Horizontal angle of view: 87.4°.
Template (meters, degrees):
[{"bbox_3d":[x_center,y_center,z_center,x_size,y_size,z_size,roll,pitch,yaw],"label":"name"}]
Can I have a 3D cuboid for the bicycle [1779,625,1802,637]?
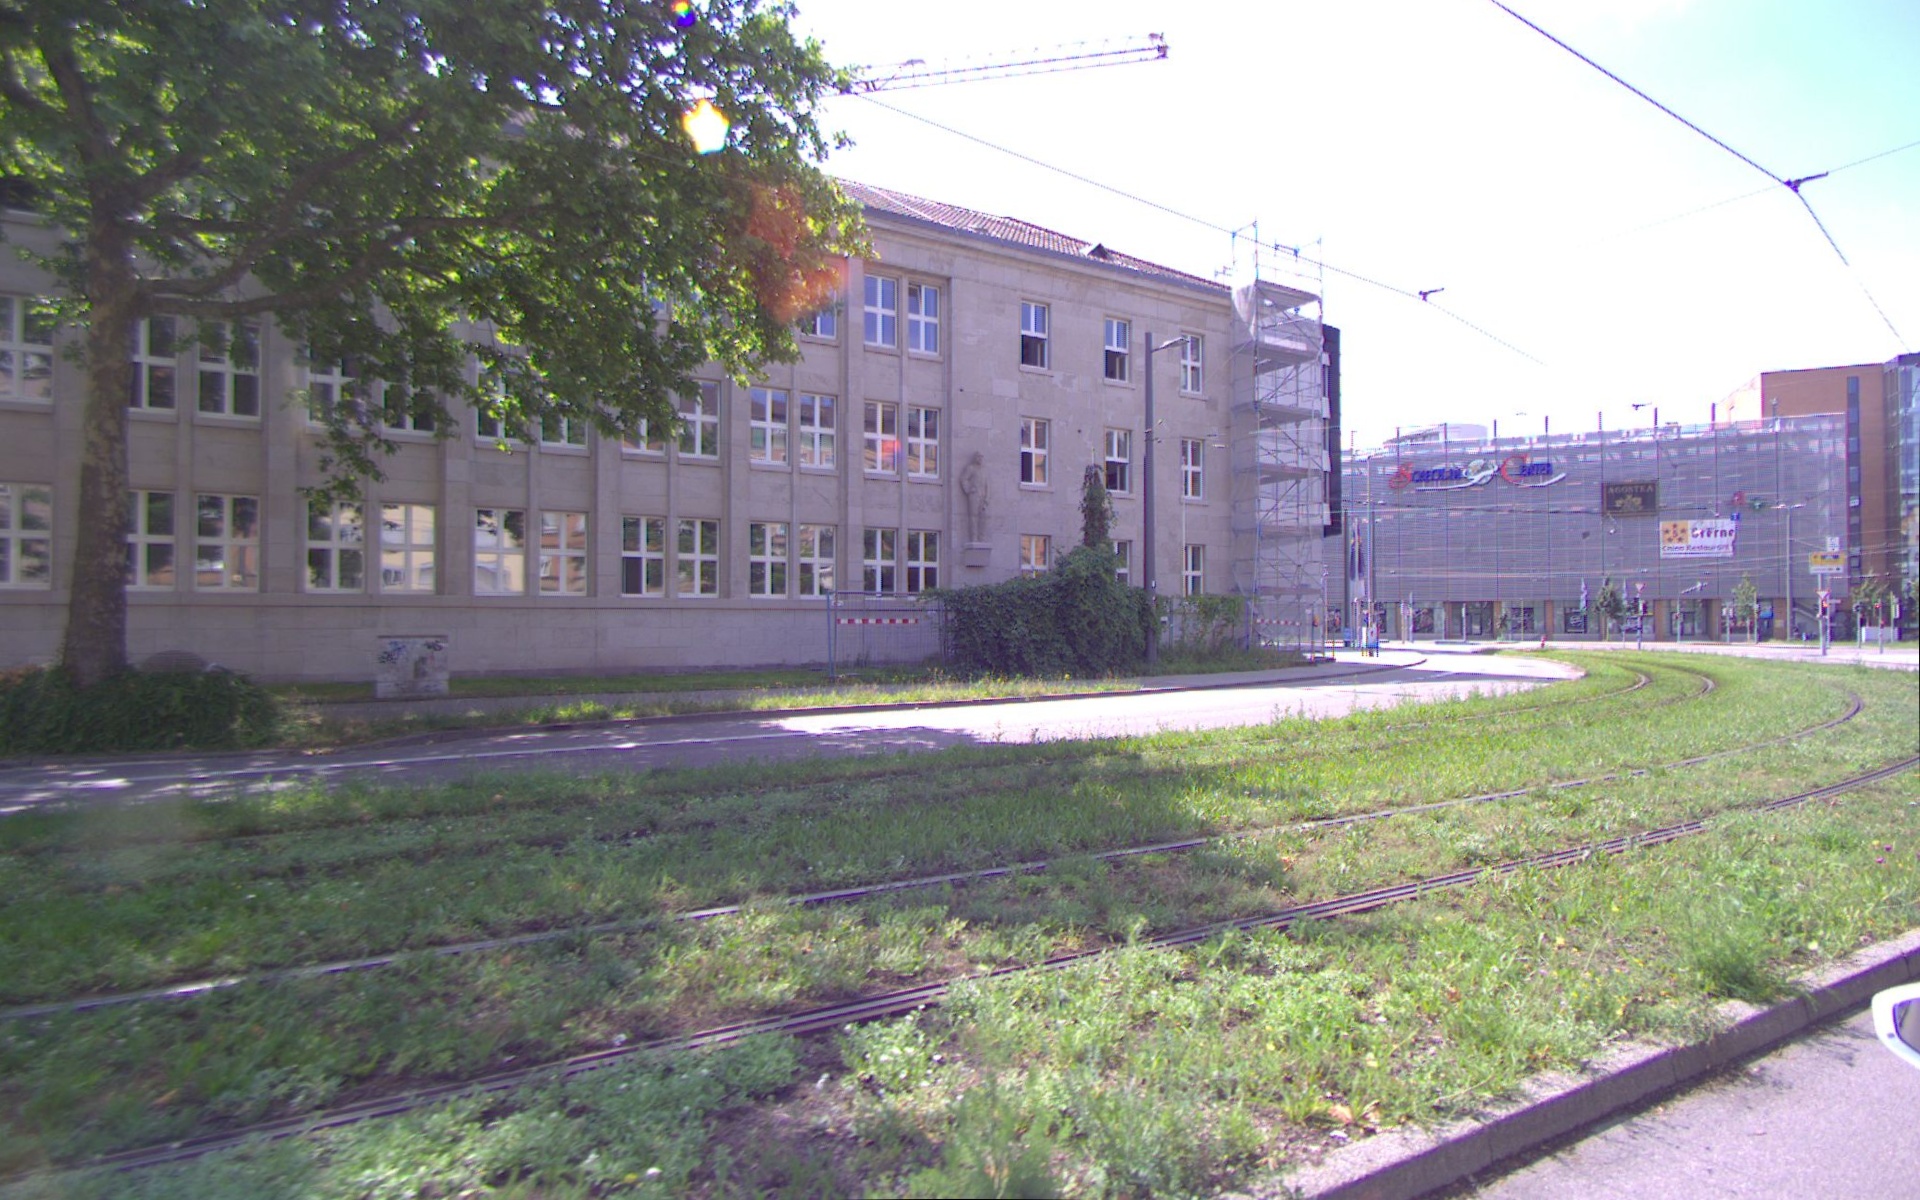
[{"bbox_3d":[86.036,3.243,104.028,1.732,1.240,0.584,0,-1,24],"label":"bicycle"}]

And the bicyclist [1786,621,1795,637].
[{"bbox_3d":[86.029,3.021,104.037,0.652,1.645,0.550,0,-1,24],"label":"bicyclist"}]
